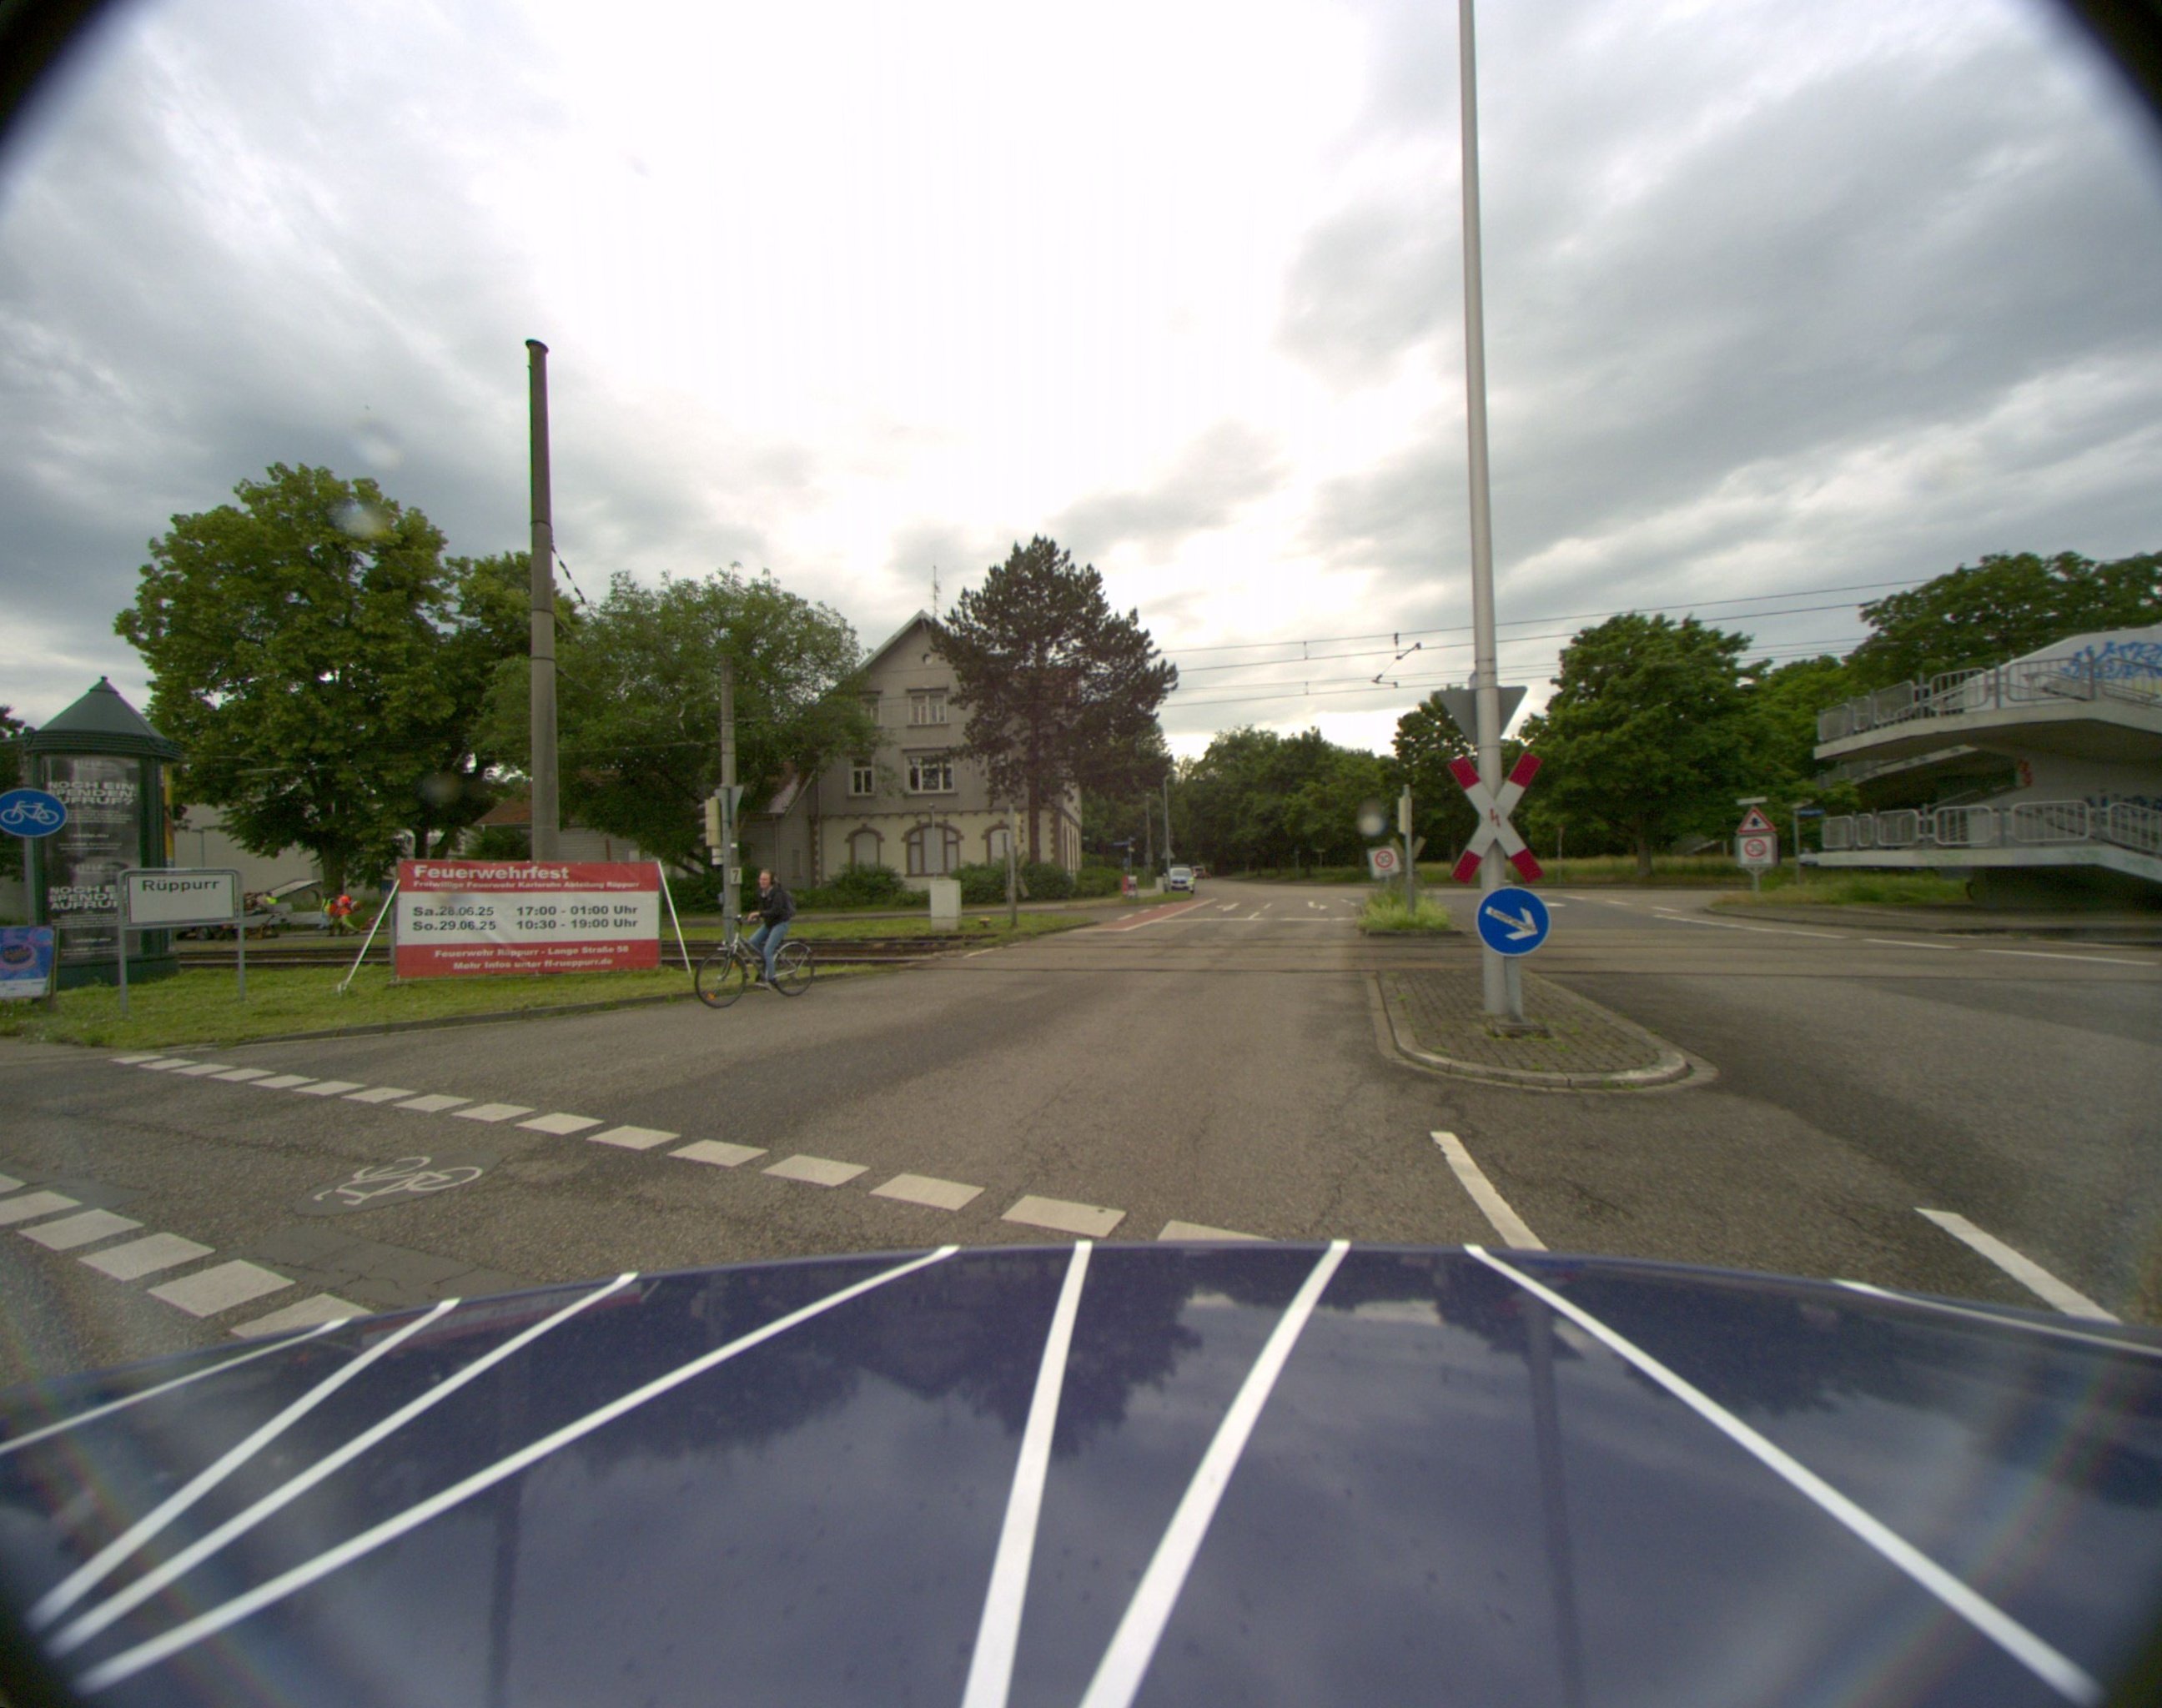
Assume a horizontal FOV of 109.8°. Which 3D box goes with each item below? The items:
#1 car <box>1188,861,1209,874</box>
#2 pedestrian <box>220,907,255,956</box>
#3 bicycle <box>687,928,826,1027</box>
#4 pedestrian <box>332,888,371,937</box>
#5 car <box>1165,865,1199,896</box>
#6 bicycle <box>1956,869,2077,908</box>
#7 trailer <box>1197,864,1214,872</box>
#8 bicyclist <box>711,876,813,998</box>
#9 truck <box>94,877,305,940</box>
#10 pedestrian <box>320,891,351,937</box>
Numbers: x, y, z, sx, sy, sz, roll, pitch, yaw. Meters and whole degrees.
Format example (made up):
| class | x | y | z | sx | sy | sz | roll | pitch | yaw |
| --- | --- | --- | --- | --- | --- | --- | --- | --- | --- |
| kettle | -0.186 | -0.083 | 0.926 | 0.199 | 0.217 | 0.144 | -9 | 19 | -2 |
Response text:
| class | x | y | z | sx | sy | sz | roll | pitch | yaw |
| --- | --- | --- | --- | --- | --- | --- | --- | --- | --- |
| car | 16.784 | 1.938 | 108.694 | 2.094 | 1.846 | 4.221 | -3 | -1 | -2 |
| pedestrian | -32.915 | 2.998 | 29.663 | 0.713 | 1.829 | 0.608 | -2 | 0 | -28 |
| bicycle | -4.058 | 1.511 | 9.688 | 0.383 | 0.974 | 2.032 | -2 | -2 | 17 |
| pedestrian | -28.712 | 2.294 | 29.914 | 0.679 | 1.843 | 0.875 | -2 | -1 | 20 |
| car | 6.301 | 1.615 | 47.801 | 1.934 | 1.839 | 4.002 | 0 | -1 | 5 |
| bicycle | 22.079 | 0.805 | 17.981 | 1.738 | 0.880 | 0.395 | -2 | -1 | 41 |
| trailer | 17.126 | 1.967 | 104.875 | 1.571 | 0.980 | 3.464 | -2 | -1 | -3 |
| bicyclist | -4.066 | 1.034 | 9.739 | 0.622 | 1.416 | 0.962 | -6 | -1 | 17 |
| truck | -36.536 | 2.233 | 31.597 | 6.402 | 2.279 | 2.606 | -2 | 0 | 8 |
| pedestrian | -29.600 | 2.373 | 30.178 | 0.575 | 1.752 | 0.636 | -2 | 0 | -3 |
